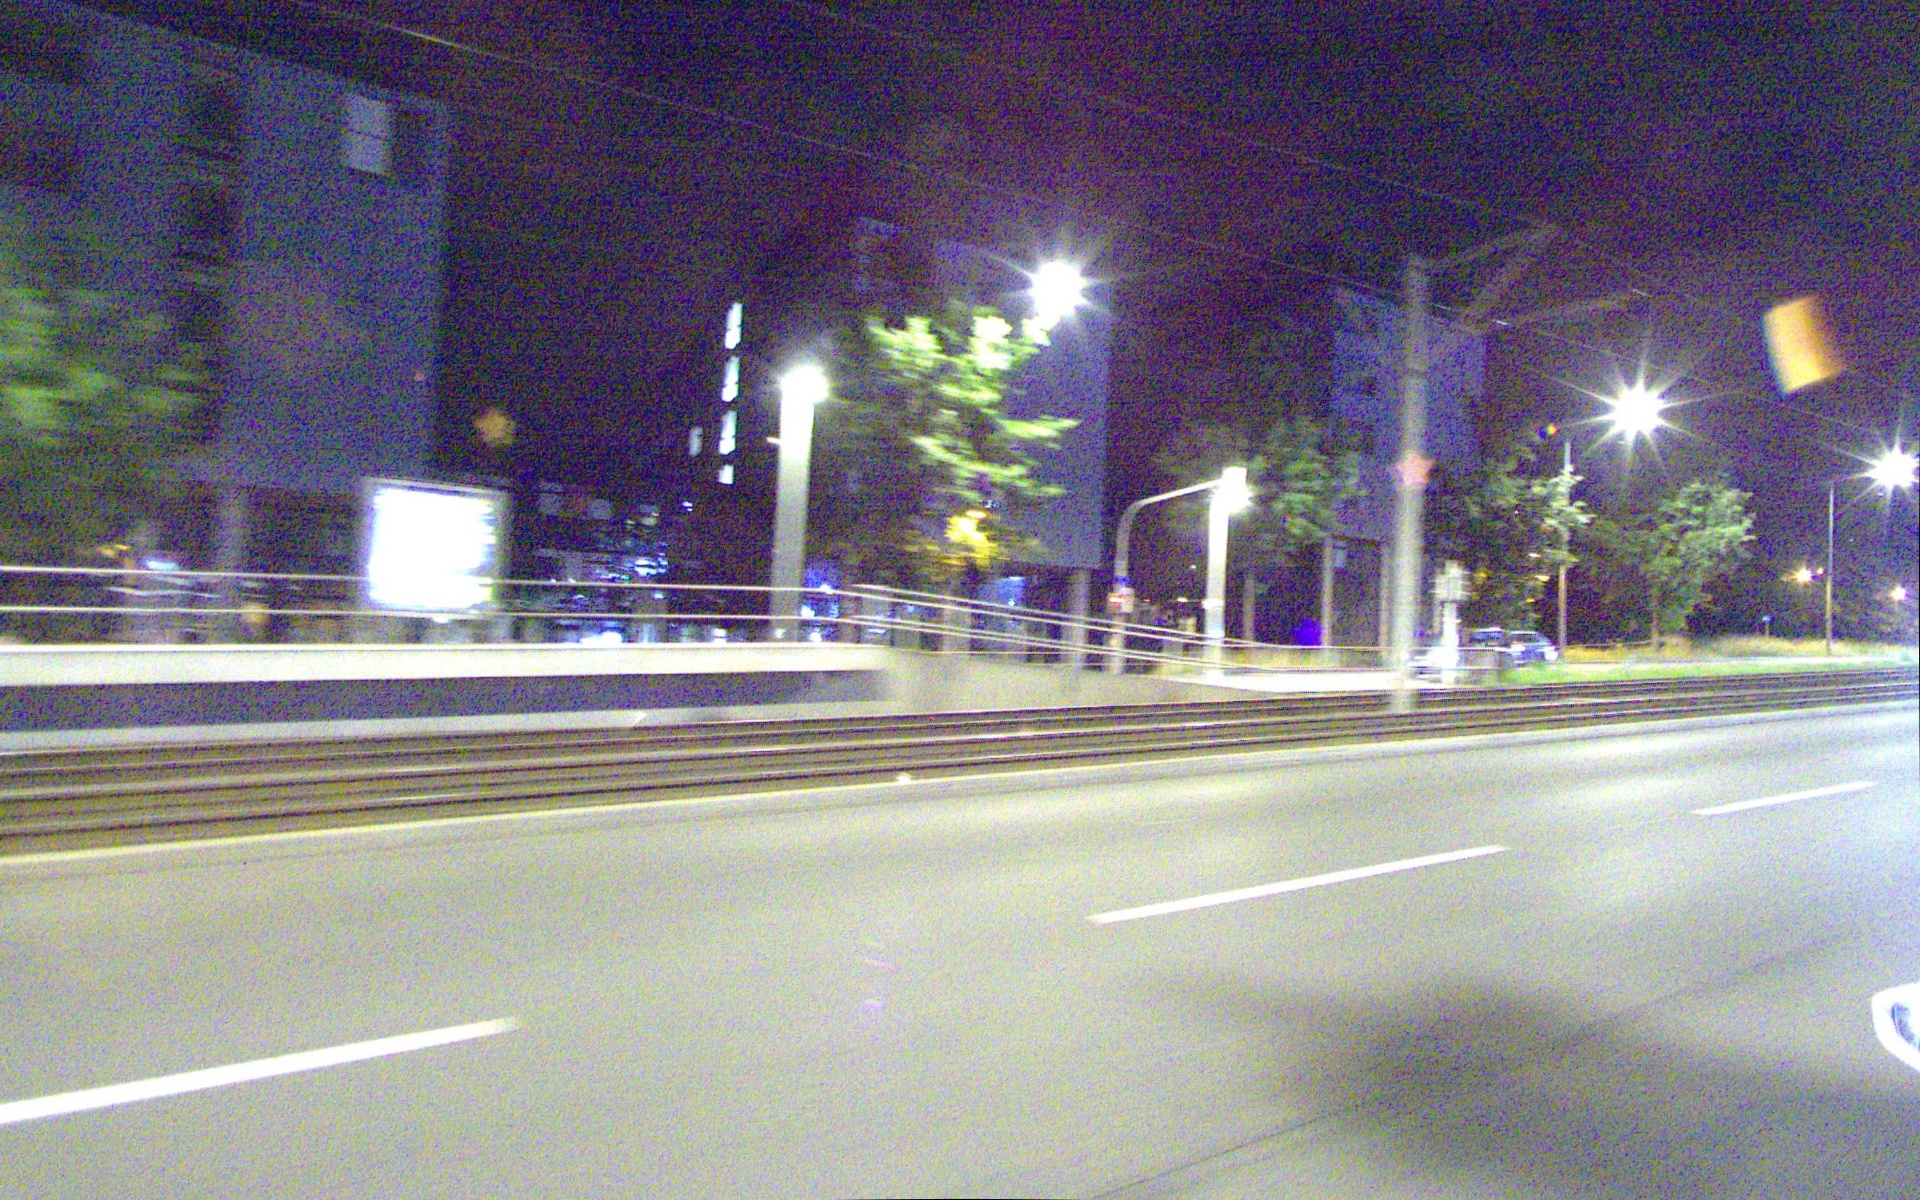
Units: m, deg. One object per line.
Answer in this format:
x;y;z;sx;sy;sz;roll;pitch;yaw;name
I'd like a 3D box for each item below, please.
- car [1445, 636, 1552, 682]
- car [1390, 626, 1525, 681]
19.536;2.128;36.412;3.865;1.536;1.652;2;-1;-30;car
15.046;1.637;30.350;4.129;1.517;1.775;3;-2;-33;car
